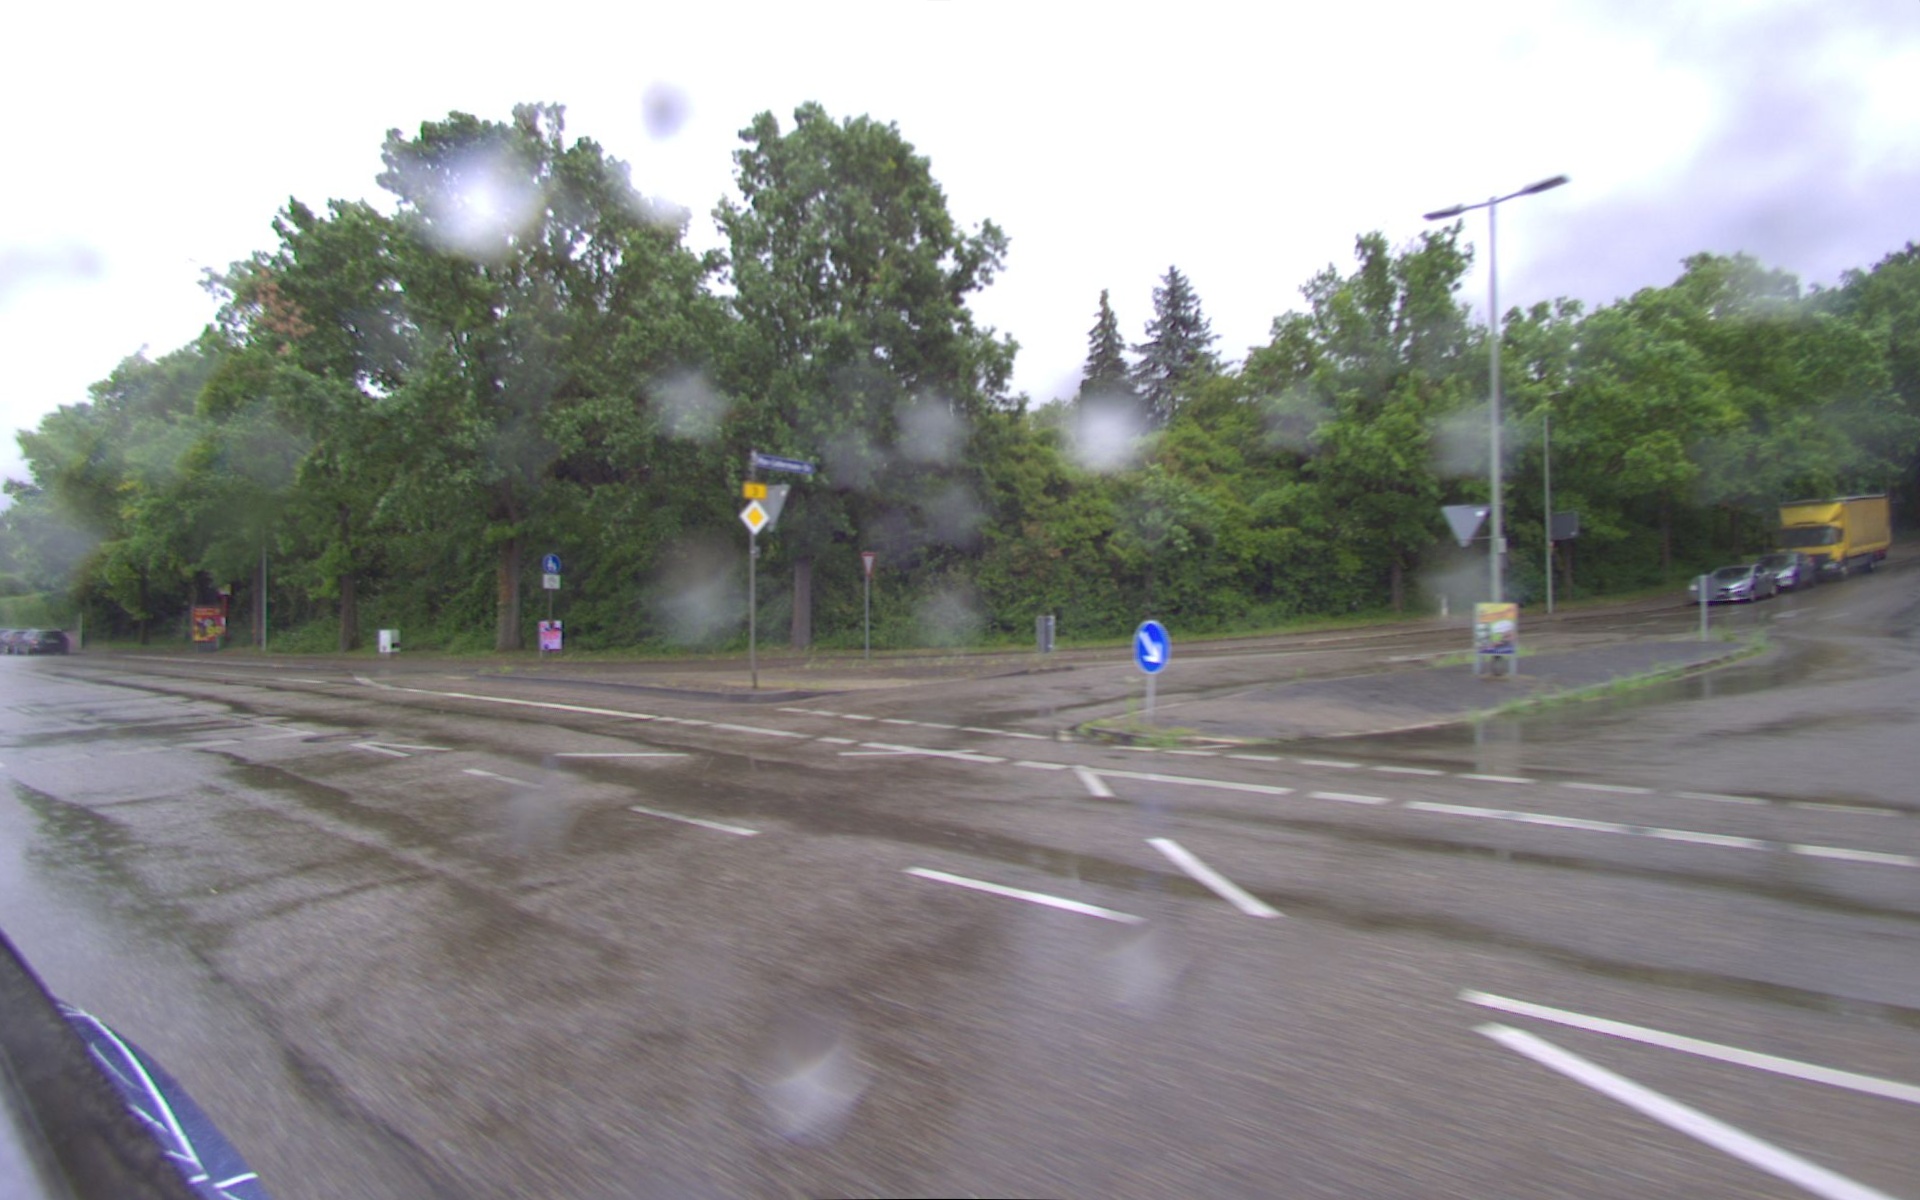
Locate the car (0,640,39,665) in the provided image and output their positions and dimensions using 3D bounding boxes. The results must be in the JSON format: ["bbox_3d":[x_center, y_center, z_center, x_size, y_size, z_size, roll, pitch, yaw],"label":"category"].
[{"bbox_3d":[-55.789,3.086,59.595,4.094,1.430,1.421,-2,-2,35],"label":"car"}]

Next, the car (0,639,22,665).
[{"bbox_3d":[-59.082,3.186,62.136,2.809,1.549,1.423,-2,-2,31],"label":"car"}]

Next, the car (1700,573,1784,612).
[{"bbox_3d":[30.923,-0.311,39.993,3.818,1.411,1.482,-2,0,-34],"label":"car"}]

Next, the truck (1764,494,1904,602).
[{"bbox_3d":[42.271,-2.468,48.792,10.518,4.689,2.823,-2,0,-37],"label":"truck"}]

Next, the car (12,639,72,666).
[{"bbox_3d":[-51.491,2.936,56.752,4.733,1.430,1.671,-2,-2,37],"label":"car"}]

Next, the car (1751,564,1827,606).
[{"bbox_3d":[35.697,-0.663,43.572,3.818,1.664,1.482,-2,0,-34],"label":"car"}]
